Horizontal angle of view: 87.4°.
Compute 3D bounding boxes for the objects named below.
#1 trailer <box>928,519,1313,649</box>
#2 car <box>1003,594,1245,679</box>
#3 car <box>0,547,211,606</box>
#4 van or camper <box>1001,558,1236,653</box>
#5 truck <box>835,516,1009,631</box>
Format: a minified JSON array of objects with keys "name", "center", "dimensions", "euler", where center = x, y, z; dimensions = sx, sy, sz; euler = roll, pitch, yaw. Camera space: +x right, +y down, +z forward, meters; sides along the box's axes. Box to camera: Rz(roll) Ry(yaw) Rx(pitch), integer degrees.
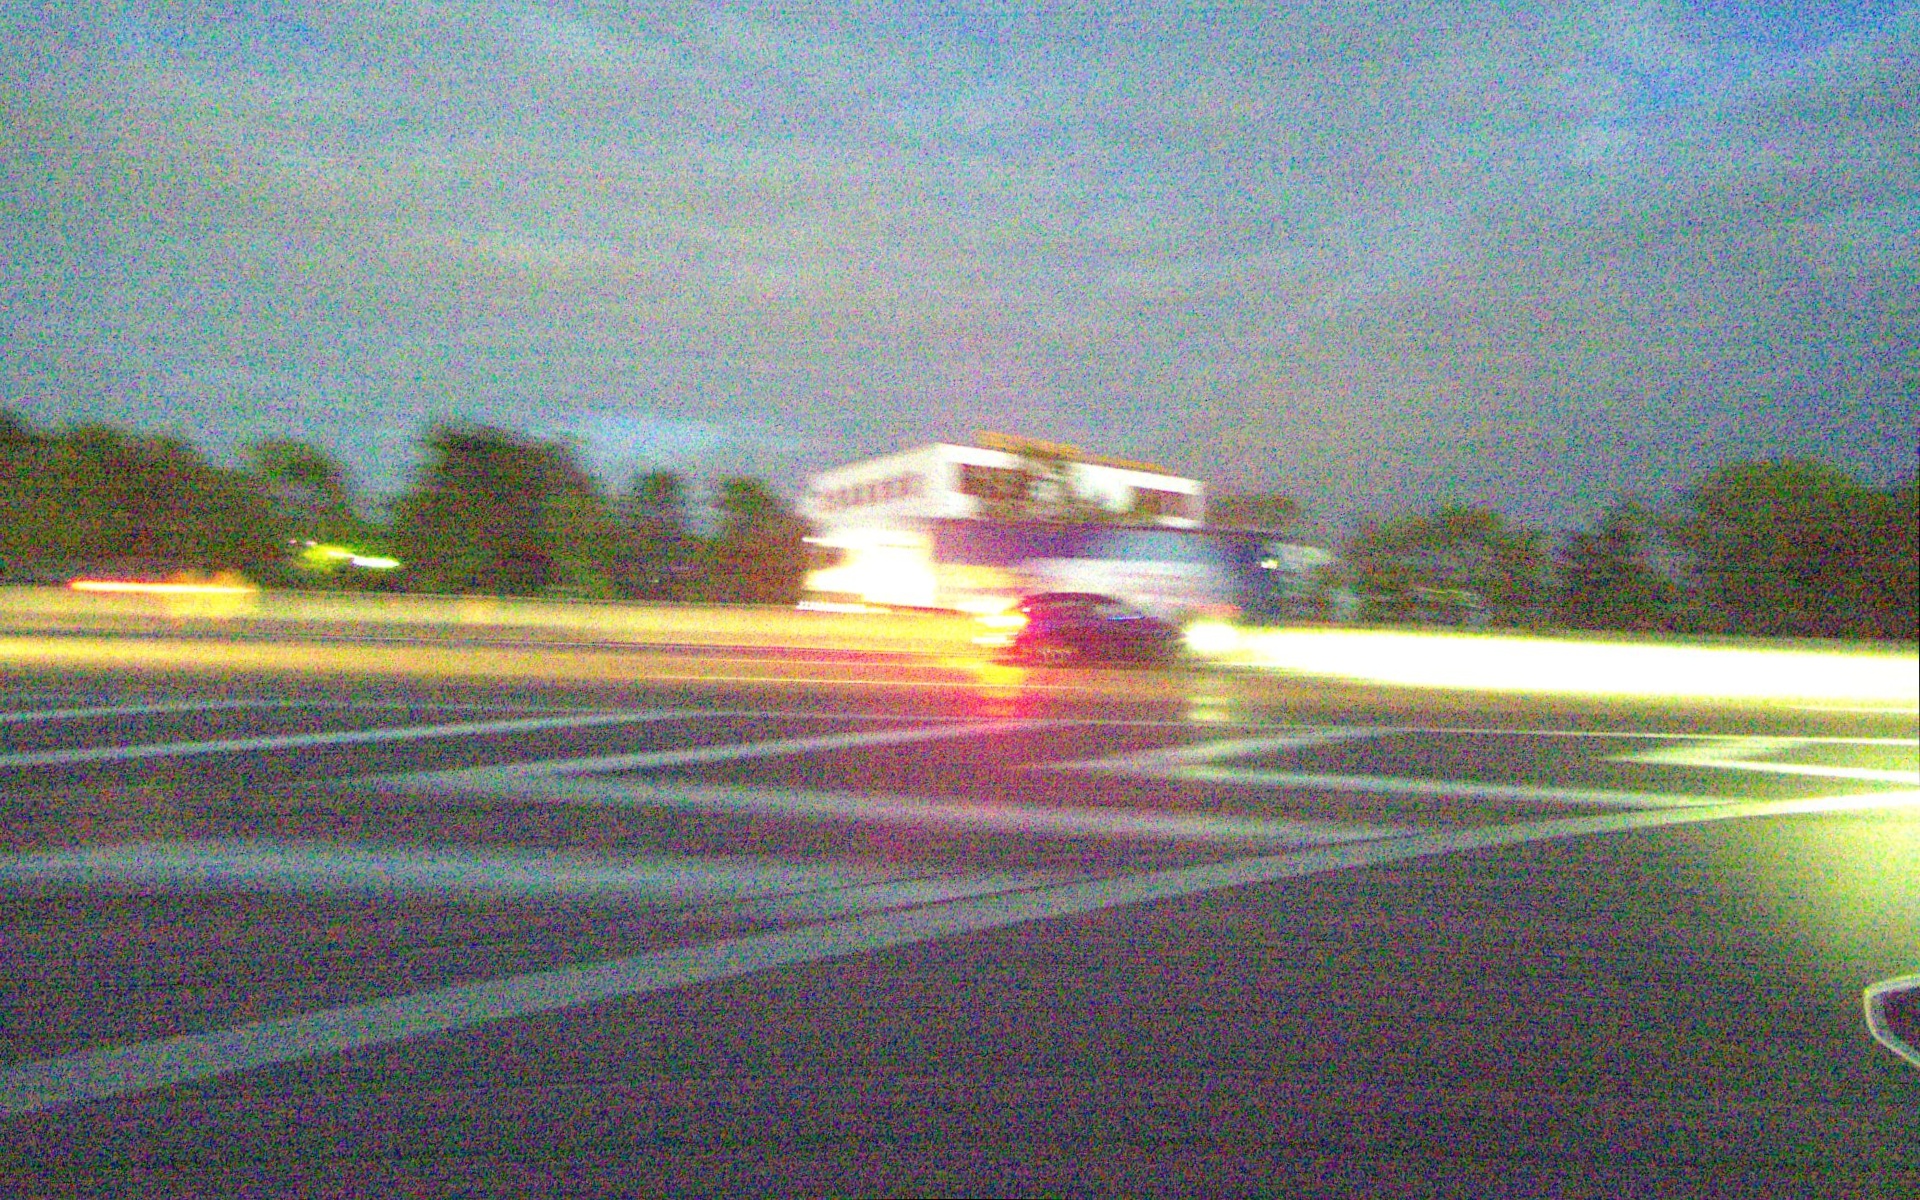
[{"name":"trailer","center":[5.740,-0.533,36.785],"dimensions":[13.501,3.866,2.765],"euler":[3,0,-6]},{"name":"car","center":[3.163,0.697,19.824],"dimensions":[4.416,1.419,1.609],"euler":[3,0,-4]},{"name":"car","center":[-21.911,-0.595,25.842],"dimensions":[3.923,1.294,1.628],"euler":[2,0,-3]},{"name":"van or camper","center":[4.999,0.193,32.109],"dimensions":[7.050,2.583,1.998],"euler":[3,0,-7]},{"name":"truck","center":[-1.427,-0.890,36.066],"dimensions":[5.852,3.643,2.765],"euler":[3,0,-7]}]
